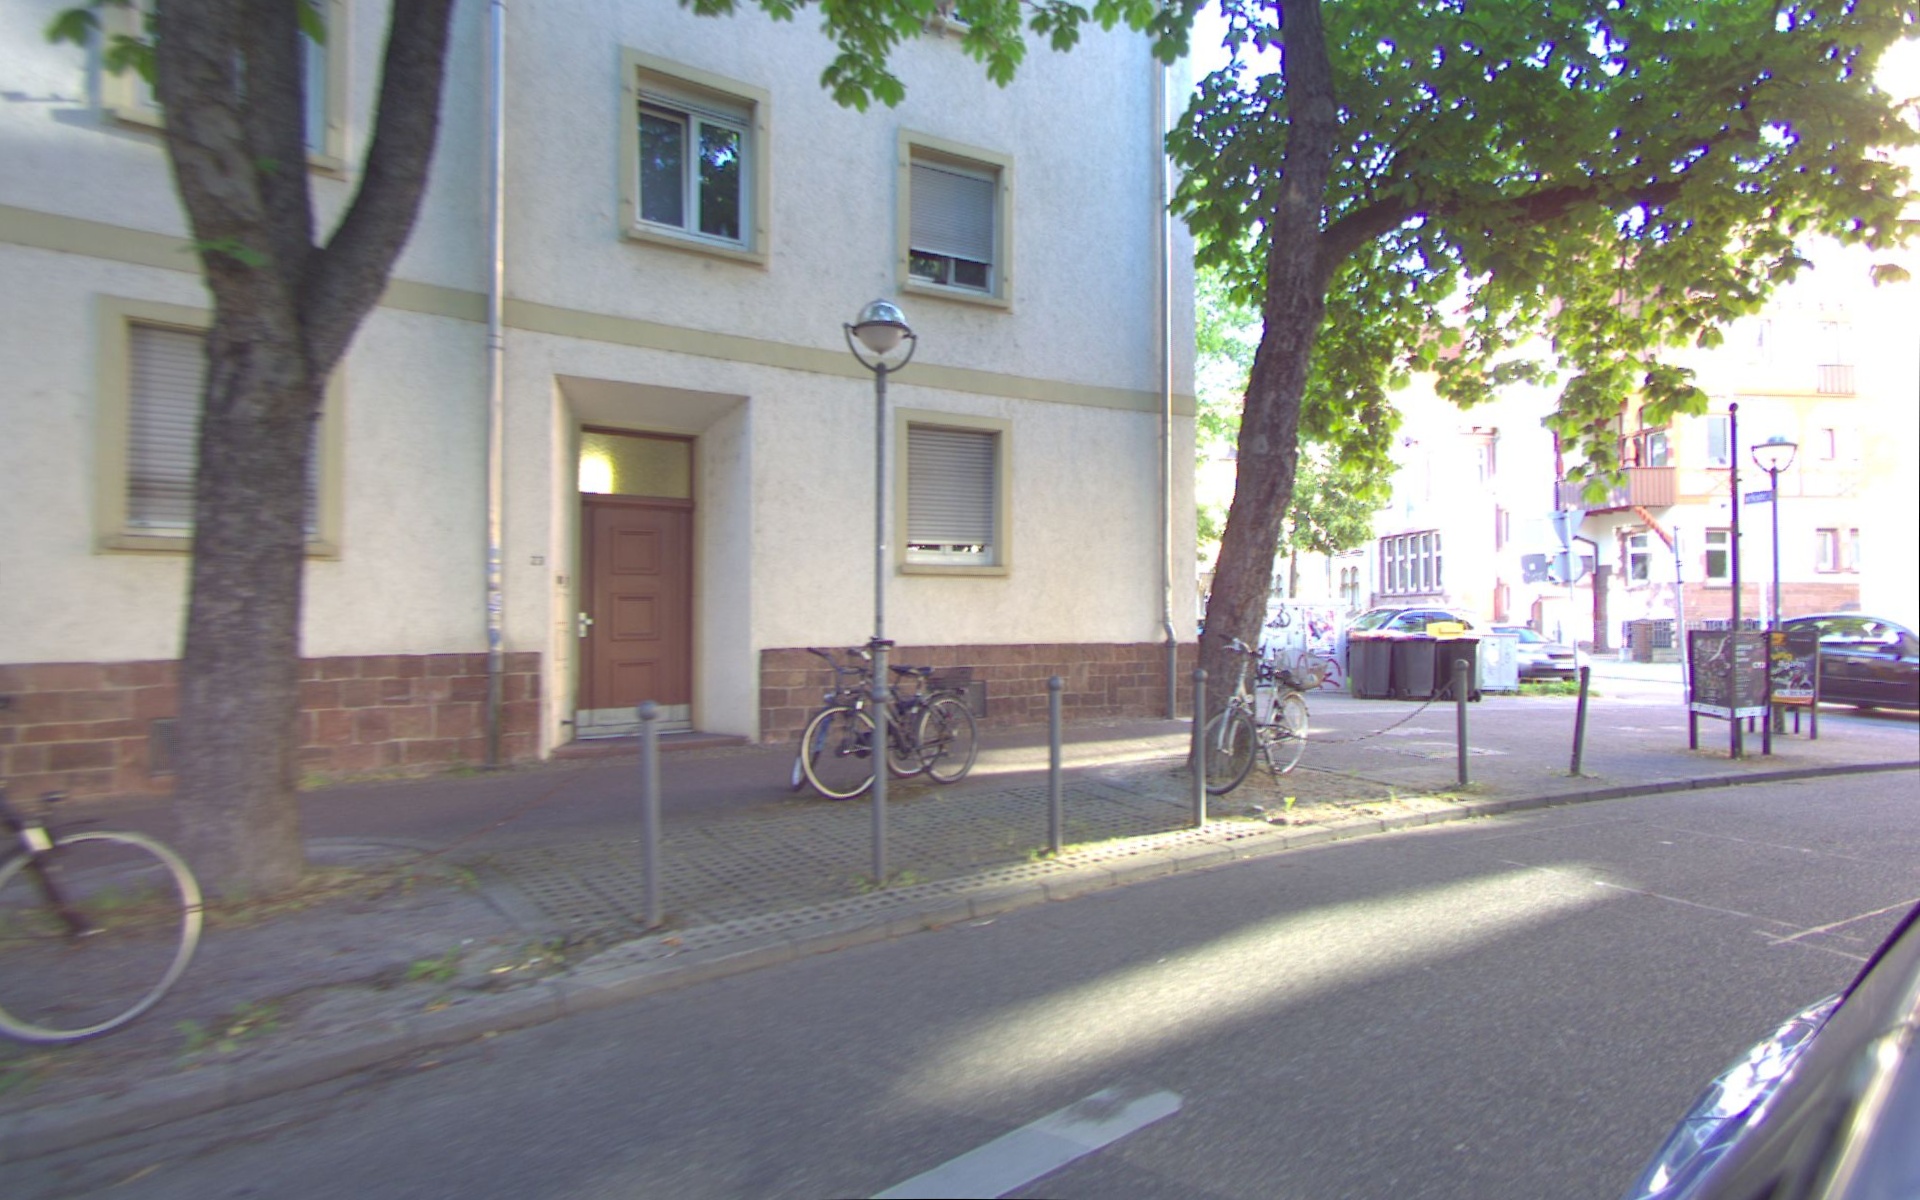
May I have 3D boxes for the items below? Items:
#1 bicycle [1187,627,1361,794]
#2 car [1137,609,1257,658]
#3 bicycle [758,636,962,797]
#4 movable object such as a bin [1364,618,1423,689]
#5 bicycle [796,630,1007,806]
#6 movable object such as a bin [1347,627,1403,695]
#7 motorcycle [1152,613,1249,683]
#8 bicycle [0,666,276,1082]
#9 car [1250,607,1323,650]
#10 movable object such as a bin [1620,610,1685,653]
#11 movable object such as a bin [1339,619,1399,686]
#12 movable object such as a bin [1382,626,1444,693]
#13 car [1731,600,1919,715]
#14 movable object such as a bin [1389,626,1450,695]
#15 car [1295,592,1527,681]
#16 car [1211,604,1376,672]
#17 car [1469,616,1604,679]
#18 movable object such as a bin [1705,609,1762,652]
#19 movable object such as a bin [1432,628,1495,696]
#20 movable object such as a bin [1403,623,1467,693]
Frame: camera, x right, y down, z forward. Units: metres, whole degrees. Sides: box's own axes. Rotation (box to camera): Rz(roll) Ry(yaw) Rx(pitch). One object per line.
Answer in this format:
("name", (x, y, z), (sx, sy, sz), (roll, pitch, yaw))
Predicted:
("bicycle", (2.581, 0.828, 8.218), (1.760, 1.197, 0.554), (1, -2, -44))
("car", (7.834, 1.106, 33.639), (3.529, 1.525, 1.678), (1, -2, -4))
("bicycle", (-0.748, 0.865, 8.061), (0.391, 1.123, 1.773), (-2, -2, 45))
("movable object such as a bin", (7.388, 0.908, 17.288), (0.621, 1.168, 0.702), (-2, -2, -5))
("bicycle", (-0.406, 0.842, 7.796), (1.755, 1.196, 0.437), (1, -2, -44))
("movable object such as a bin", (6.832, 0.993, 16.678), (0.581, 1.097, 0.674), (0, -1, -6))
("motorcycle", (4.647, 0.907, 19.762), (0.958, 1.296, 2.186), (1, -1, -14))
("bicycle", (-3.304, 0.845, 3.057), (1.967, 1.173, 0.680), (0, 0, -43))
("car", (16.011, 1.374, 49.896), (1.768, 1.931, 4.328), (-2, -1, -5))
("movable object such as a bin", (22.018, 0.997, 32.219), (1.356, 1.315, 0.967), (-1, -1, 4))
("movable object such as a bin", (7.297, 0.925, 18.088), (0.725, 1.168, 0.702), (0, -1, -5))
("movable object such as a bin", (8.118, 1.050, 18.163), (0.725, 1.168, 0.716), (0, -1, -5))
("car", (14.479, 0.816, 15.279), (1.959, 1.614, 4.267), (-2, -1, -9))
("movable object such as a bin", (7.504, 0.974, 16.559), (0.618, 1.089, 0.706), (0, -1, -5))
("car", (9.482, 0.784, 21.458), (4.034, 1.735, 2.026), (1, -2, -9))
("car", (8.497, 0.946, 26.011), (3.633, 1.672, 1.704), (0, -1, -1))
("car", (14.099, 1.101, 25.018), (1.768, 1.413, 4.236), (-1, -1, 14))
("movable object such as a bin", (24.714, 0.967, 32.338), (1.355, 1.334, 0.688), (-1, -1, -12))
("movable object such as a bin", (8.290, 1.012, 16.687), (0.646, 1.078, 0.695), (0, -1, -5))
("movable object such as a bin", (8.161, 0.990, 17.406), (0.725, 1.168, 0.702), (0, -1, -5))
